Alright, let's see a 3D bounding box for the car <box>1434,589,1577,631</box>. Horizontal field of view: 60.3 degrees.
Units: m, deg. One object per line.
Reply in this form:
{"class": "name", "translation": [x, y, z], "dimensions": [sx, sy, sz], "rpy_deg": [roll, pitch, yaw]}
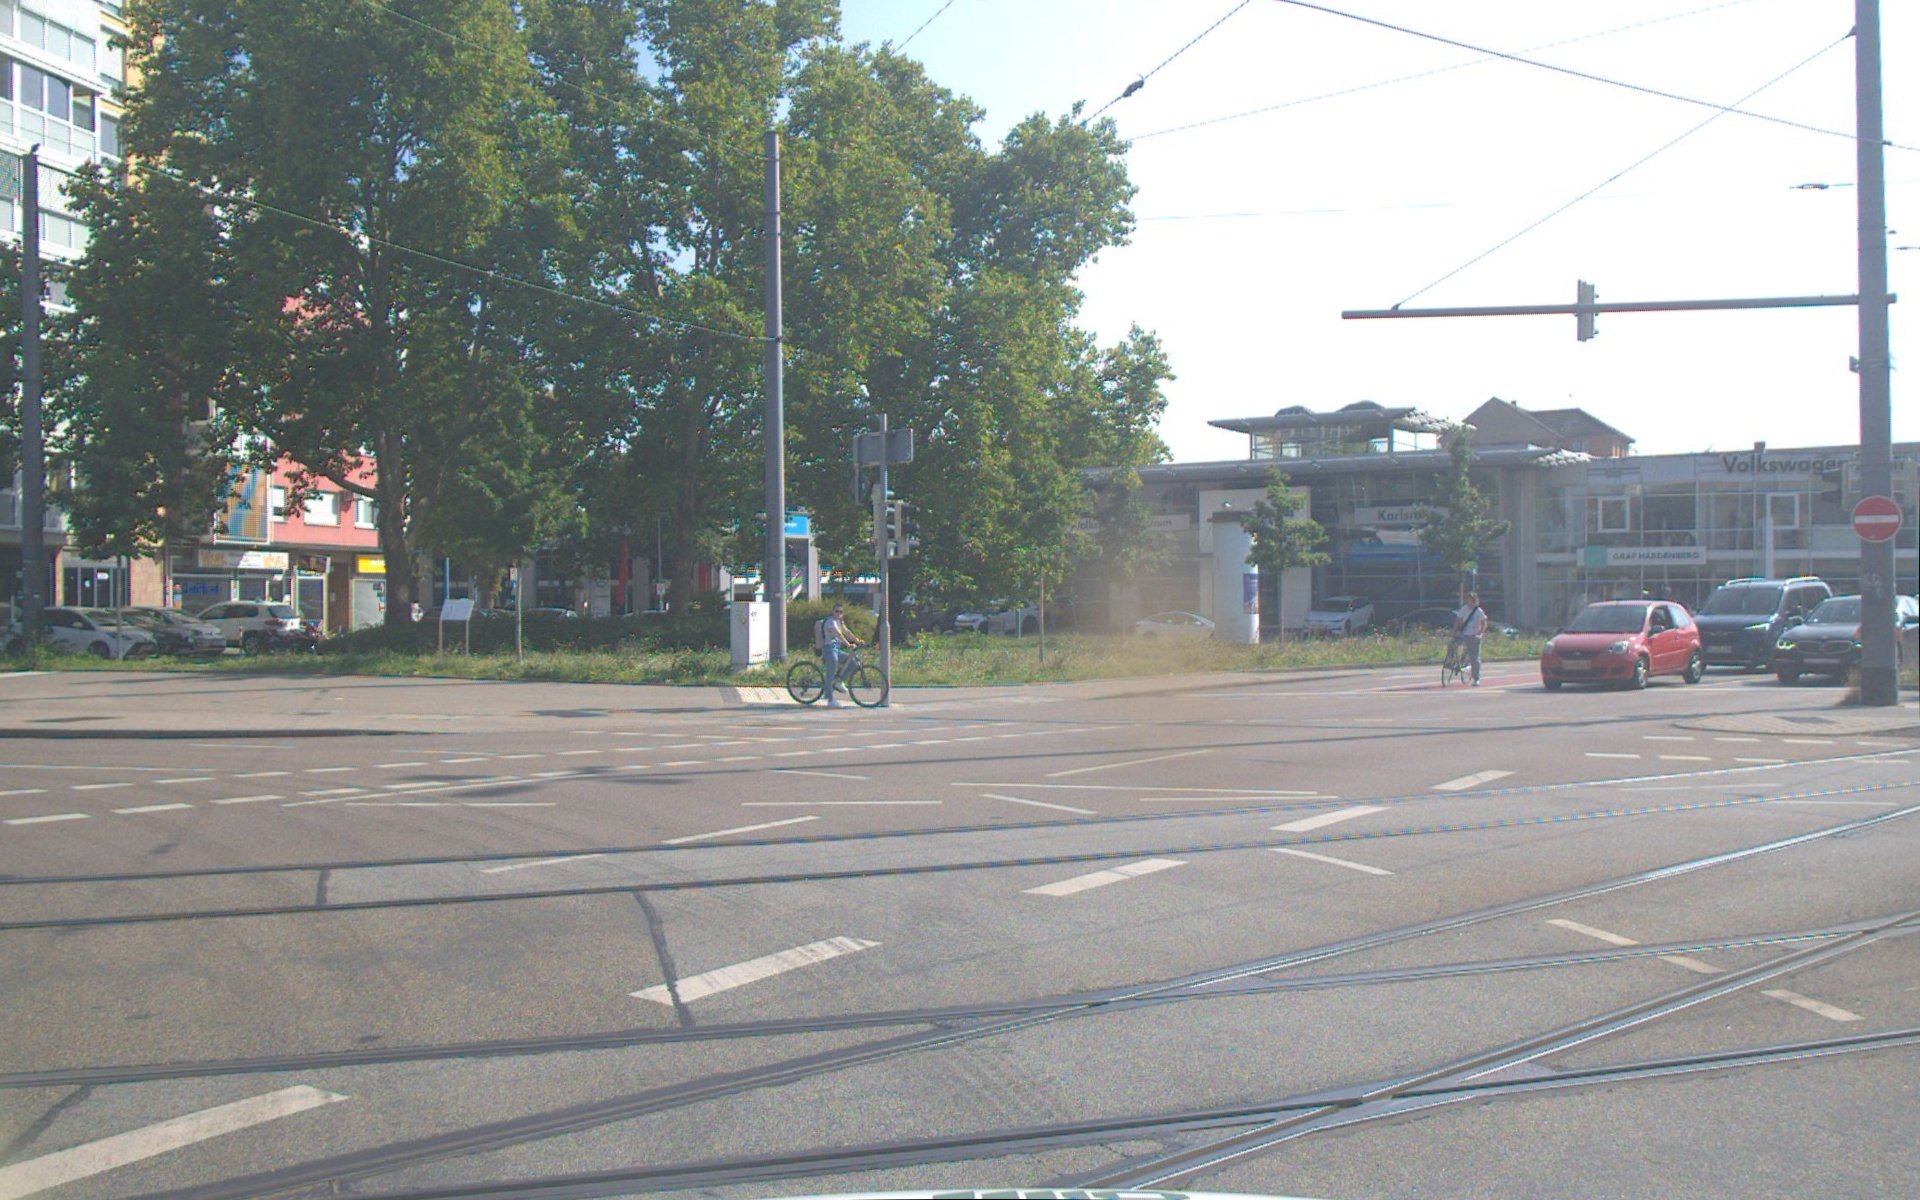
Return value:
{"class": "car", "translation": [18.917, 0.350, 57.404], "dimensions": [4.310, 1.394, 1.993], "rpy_deg": [-1, 0, 36]}

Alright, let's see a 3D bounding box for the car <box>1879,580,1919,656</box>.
{"class": "car", "translation": [20.083, 0.331, 33.490], "dimensions": [1.772, 1.460, 3.534], "rpy_deg": [-1, 1, 43]}

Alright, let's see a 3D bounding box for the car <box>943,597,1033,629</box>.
{"class": "car", "translation": [1.376, 0.618, 80.255], "dimensions": [4.013, 1.488, 1.976], "rpy_deg": [-1, 0, -35]}

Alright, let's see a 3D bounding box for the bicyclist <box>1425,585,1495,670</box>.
{"class": "bicyclist", "translation": [9.144, 0.493, 30.254], "dimensions": [1.063, 1.501, 0.971], "rpy_deg": [-1, 0, 27]}

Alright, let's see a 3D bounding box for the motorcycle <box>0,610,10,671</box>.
{"class": "motorcycle", "translation": [-19.659, 0.797, 32.421], "dimensions": [2.250, 1.167, 0.704], "rpy_deg": [-1, 0, 29]}

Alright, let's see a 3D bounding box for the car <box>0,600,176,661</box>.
{"class": "car", "translation": [-23.492, 0.807, 44.515], "dimensions": [3.902, 1.533, 2.002], "rpy_deg": [-1, 0, 13]}

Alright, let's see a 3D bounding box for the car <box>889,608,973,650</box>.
{"class": "car", "translation": [-1.486, 1.466, 83.752], "dimensions": [3.923, 2.049, 1.937], "rpy_deg": [0, 0, 39]}

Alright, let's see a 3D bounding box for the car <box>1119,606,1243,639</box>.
{"class": "car", "translation": [8.500, 0.849, 63.526], "dimensions": [4.301, 1.186, 1.997], "rpy_deg": [-1, 0, 29]}

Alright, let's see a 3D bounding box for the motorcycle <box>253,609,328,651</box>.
{"class": "motorcycle", "translation": [-16.913, 0.750, 41.780], "dimensions": [1.913, 1.019, 0.704], "rpy_deg": [-1, 0, 28]}

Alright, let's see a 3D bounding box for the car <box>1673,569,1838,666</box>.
{"class": "car", "translation": [16.584, 0.308, 34.367], "dimensions": [1.772, 1.859, 4.742], "rpy_deg": [-1, 1, 43]}

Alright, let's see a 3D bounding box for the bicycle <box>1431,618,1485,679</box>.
{"class": "bicycle", "translation": [9.102, 0.872, 30.184], "dimensions": [0.517, 1.006, 2.195], "rpy_deg": [-2, 0, 27]}

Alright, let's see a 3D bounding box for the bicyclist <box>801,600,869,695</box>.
{"class": "bicyclist", "translation": [-1.953, 0.724, 25.881], "dimensions": [0.802, 1.452, 0.729], "rpy_deg": [0, 0, 31]}

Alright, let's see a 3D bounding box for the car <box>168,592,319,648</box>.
{"class": "car", "translation": [-22.492, 0.623, 51.956], "dimensions": [3.902, 1.673, 2.002], "rpy_deg": [-1, 0, 13]}

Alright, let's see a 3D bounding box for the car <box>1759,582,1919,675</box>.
{"class": "car", "translation": [15.572, 0.444, 28.811], "dimensions": [1.772, 1.477, 4.322], "rpy_deg": [-1, 1, 43]}

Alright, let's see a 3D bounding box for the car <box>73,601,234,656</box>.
{"class": "car", "translation": [-23.889, 0.829, 49.054], "dimensions": [3.902, 1.533, 2.002], "rpy_deg": [-1, 0, 13]}

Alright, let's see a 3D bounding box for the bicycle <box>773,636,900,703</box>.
{"class": "bicycle", "translation": [-1.942, 1.072, 25.884], "dimensions": [2.031, 0.909, 0.566], "rpy_deg": [2, 1, 32]}

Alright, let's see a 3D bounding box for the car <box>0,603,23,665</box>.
{"class": "car", "translation": [-24.761, 0.843, 39.493], "dimensions": [4.091, 1.466, 1.663], "rpy_deg": [-1, 0, 13]}

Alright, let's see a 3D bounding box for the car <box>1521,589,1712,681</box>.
{"class": "car", "translation": [11.500, 0.561, 28.842], "dimensions": [1.772, 1.440, 3.974], "rpy_deg": [-1, 1, 43]}

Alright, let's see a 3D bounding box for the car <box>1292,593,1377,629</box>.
{"class": "car", "translation": [16.060, 0.455, 70.855], "dimensions": [1.961, 1.488, 4.306], "rpy_deg": [0, 0, 37]}

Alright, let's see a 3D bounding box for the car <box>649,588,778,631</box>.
{"class": "car", "translation": [-8.419, 0.326, 56.645], "dimensions": [3.901, 1.400, 2.002], "rpy_deg": [-1, 0, 11]}
